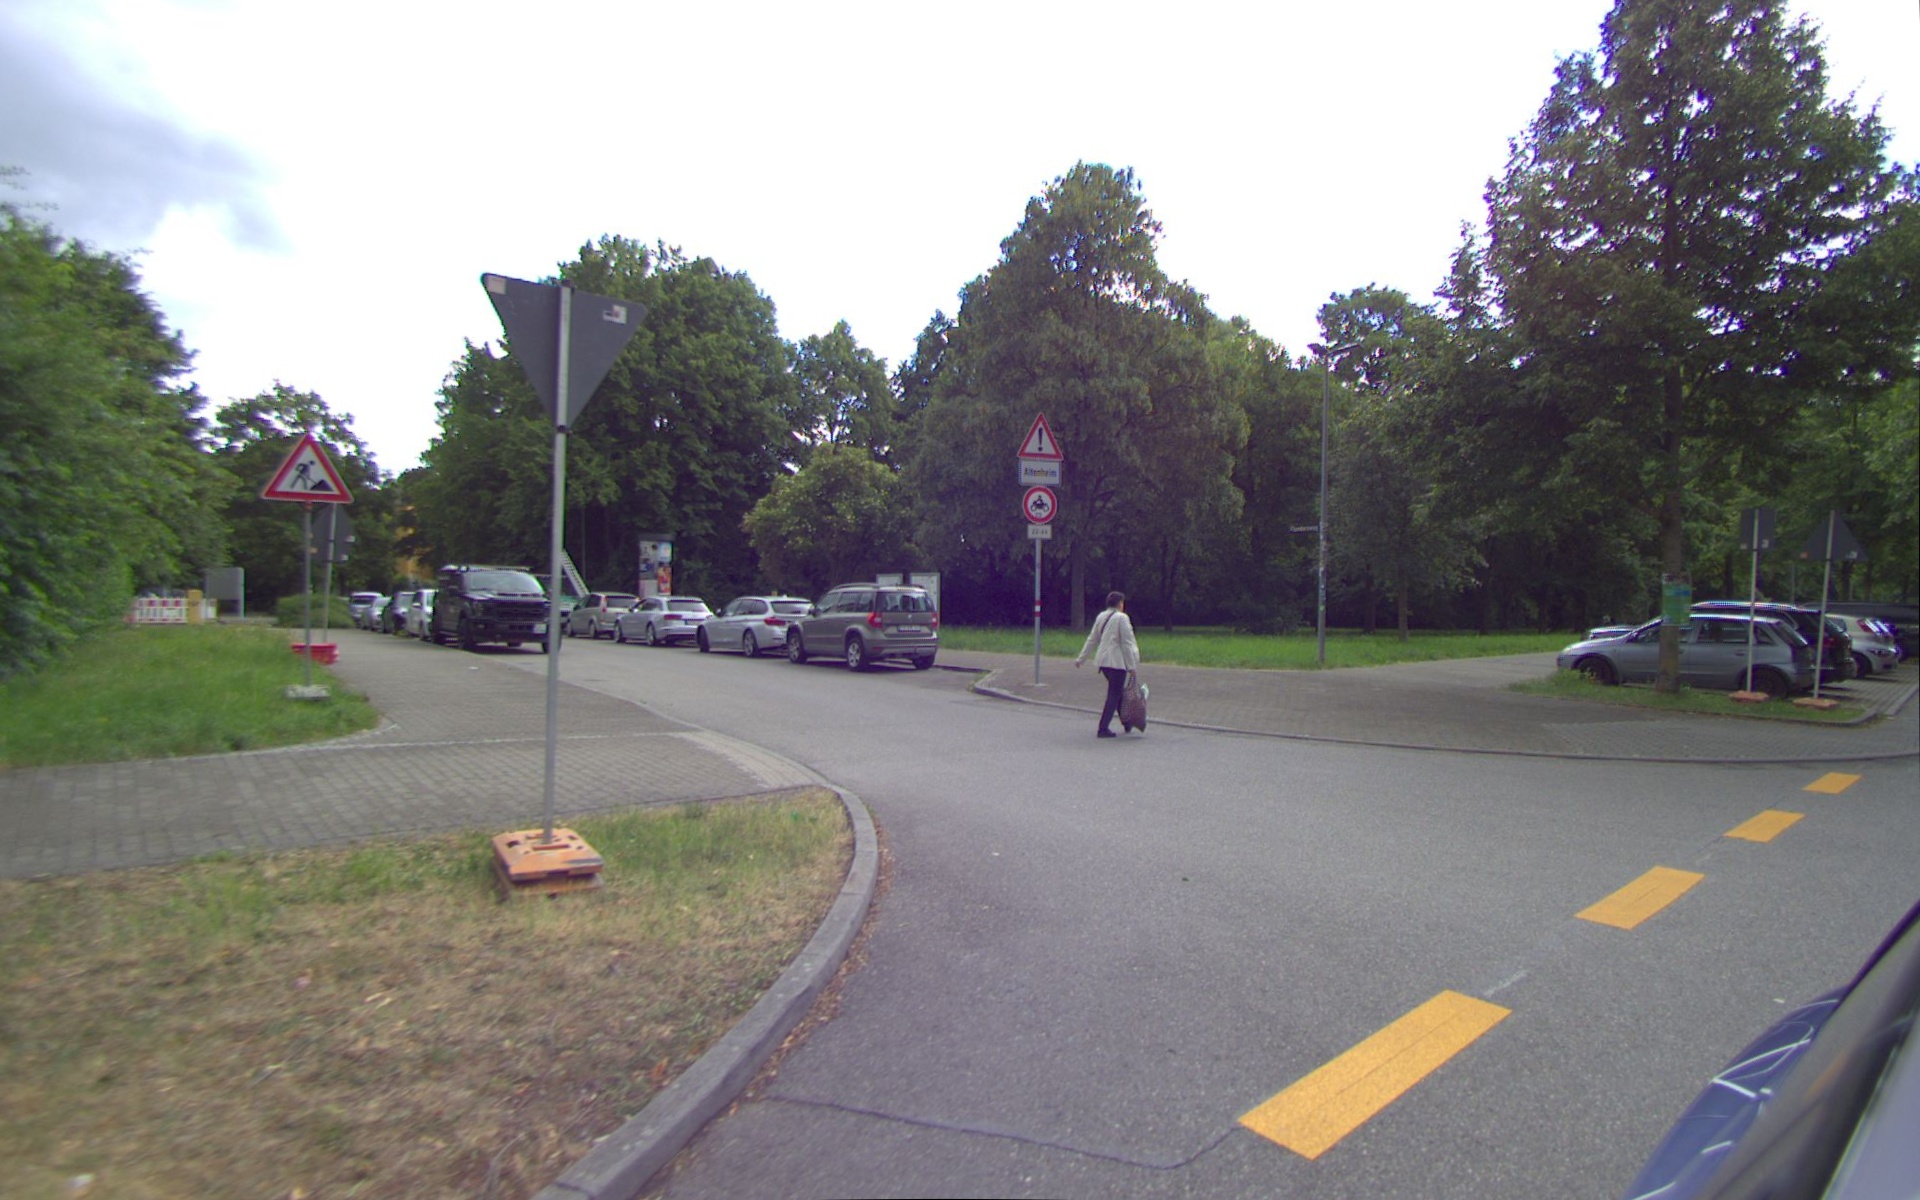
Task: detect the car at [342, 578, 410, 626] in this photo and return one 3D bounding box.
[{"bbox_3d":[-27.054,0.097,46.764,2.098,2.083,5.334,1,0,-37],"label":"car"}]

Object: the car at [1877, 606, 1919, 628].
[{"bbox_3d":[64.649,1.171,68.267,4.006,1.439,1.765,3,1,42],"label":"car"}]

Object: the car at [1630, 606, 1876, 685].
[{"bbox_3d":[16.856,0.901,21.653,1.789,1.375,3.841,0,2,-39],"label":"car"}]

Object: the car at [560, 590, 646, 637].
[{"bbox_3d":[-12.446,0.433,35.118,1.671,1.545,4.295,0,0,-36],"label":"car"}]

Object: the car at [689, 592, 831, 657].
[{"bbox_3d":[-4.999,0.539,24.909,1.672,1.446,4.404,0,0,-37],"label":"car"}]

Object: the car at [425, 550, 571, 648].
[{"bbox_3d":[-11.165,-0.023,24.222,2.098,2.083,5.334,1,0,-37],"label":"car"}]

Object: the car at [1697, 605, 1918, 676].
[{"bbox_3d":[20.771,0.916,24.908,1.903,1.448,3.991,0,2,-43],"label":"car"}]

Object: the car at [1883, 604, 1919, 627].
[{"bbox_3d":[73.694,1.245,77.008,1.939,1.714,4.828,1,1,-40],"label":"car"}]

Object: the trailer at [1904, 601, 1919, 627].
[{"bbox_3d":[70.381,1.055,73.233,3.030,1.813,1.538,3,1,44],"label":"trailer"}]

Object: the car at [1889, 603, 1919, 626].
[{"bbox_3d":[66.677,1.045,69.584,4.114,1.567,1.831,3,1,44],"label":"car"}]

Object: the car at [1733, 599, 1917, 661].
[{"bbox_3d":[25.859,0.849,30.349,1.762,1.529,3.968,1,2,-42],"label":"car"}]

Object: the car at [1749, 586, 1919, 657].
[{"bbox_3d":[29.549,0.677,33.570,2.128,2.038,4.963,1,2,-42],"label":"car"}]

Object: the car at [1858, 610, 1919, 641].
[{"bbox_3d":[49.881,1.369,53.021,1.820,1.474,4.078,1,1,-42],"label":"car"}]

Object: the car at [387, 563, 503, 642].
[{"bbox_3d":[-15.002,0.052,29.305,2.098,2.083,5.334,1,0,-37],"label":"car"}]

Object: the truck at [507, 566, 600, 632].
[{"bbox_3d":[-16.380,-0.063,40.576,2.152,2.457,5.522,0,0,-37],"label":"truck"}]

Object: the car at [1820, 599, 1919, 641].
[{"bbox_3d":[40.632,0.879,44.225,2.047,1.697,4.420,2,1,-43],"label":"car"}]

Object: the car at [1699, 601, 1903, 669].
[{"bbox_3d":[22.409,0.863,27.068,1.780,1.547,3.993,0,2,-42],"label":"car"}]

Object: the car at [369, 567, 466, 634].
[{"bbox_3d":[-18.296,0.010,33.988,2.098,2.083,5.334,1,0,-37],"label":"car"}]

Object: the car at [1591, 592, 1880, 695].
[{"bbox_3d":[14.990,0.739,19.744,1.944,1.670,4.133,0,2,-39],"label":"car"}]

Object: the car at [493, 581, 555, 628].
[{"bbox_3d":[-19.883,0.192,46.081,1.671,2.022,4.295,1,0,-36],"label":"car"}]

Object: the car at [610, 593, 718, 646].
[{"bbox_3d":[-8.829,0.515,29.929,1.671,1.446,4.442,0,0,-36],"label":"car"}]

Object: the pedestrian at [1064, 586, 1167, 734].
[{"bbox_3d":[1.764,0.644,11.493,0.794,1.596,0.836,1,-1,-38],"label":"pedestrian"}]

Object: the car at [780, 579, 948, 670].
[{"bbox_3d":[-2.041,0.434,20.699,1.734,1.689,3.791,1,0,-36],"label":"car"}]

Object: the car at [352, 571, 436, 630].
[{"bbox_3d":[-21.661,0.014,38.609,2.098,2.083,5.334,1,0,-37],"label":"car"}]

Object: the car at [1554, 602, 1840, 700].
[{"bbox_3d":[13.106,0.810,18.156,1.820,1.420,3.839,0,2,-41],"label":"car"}]
